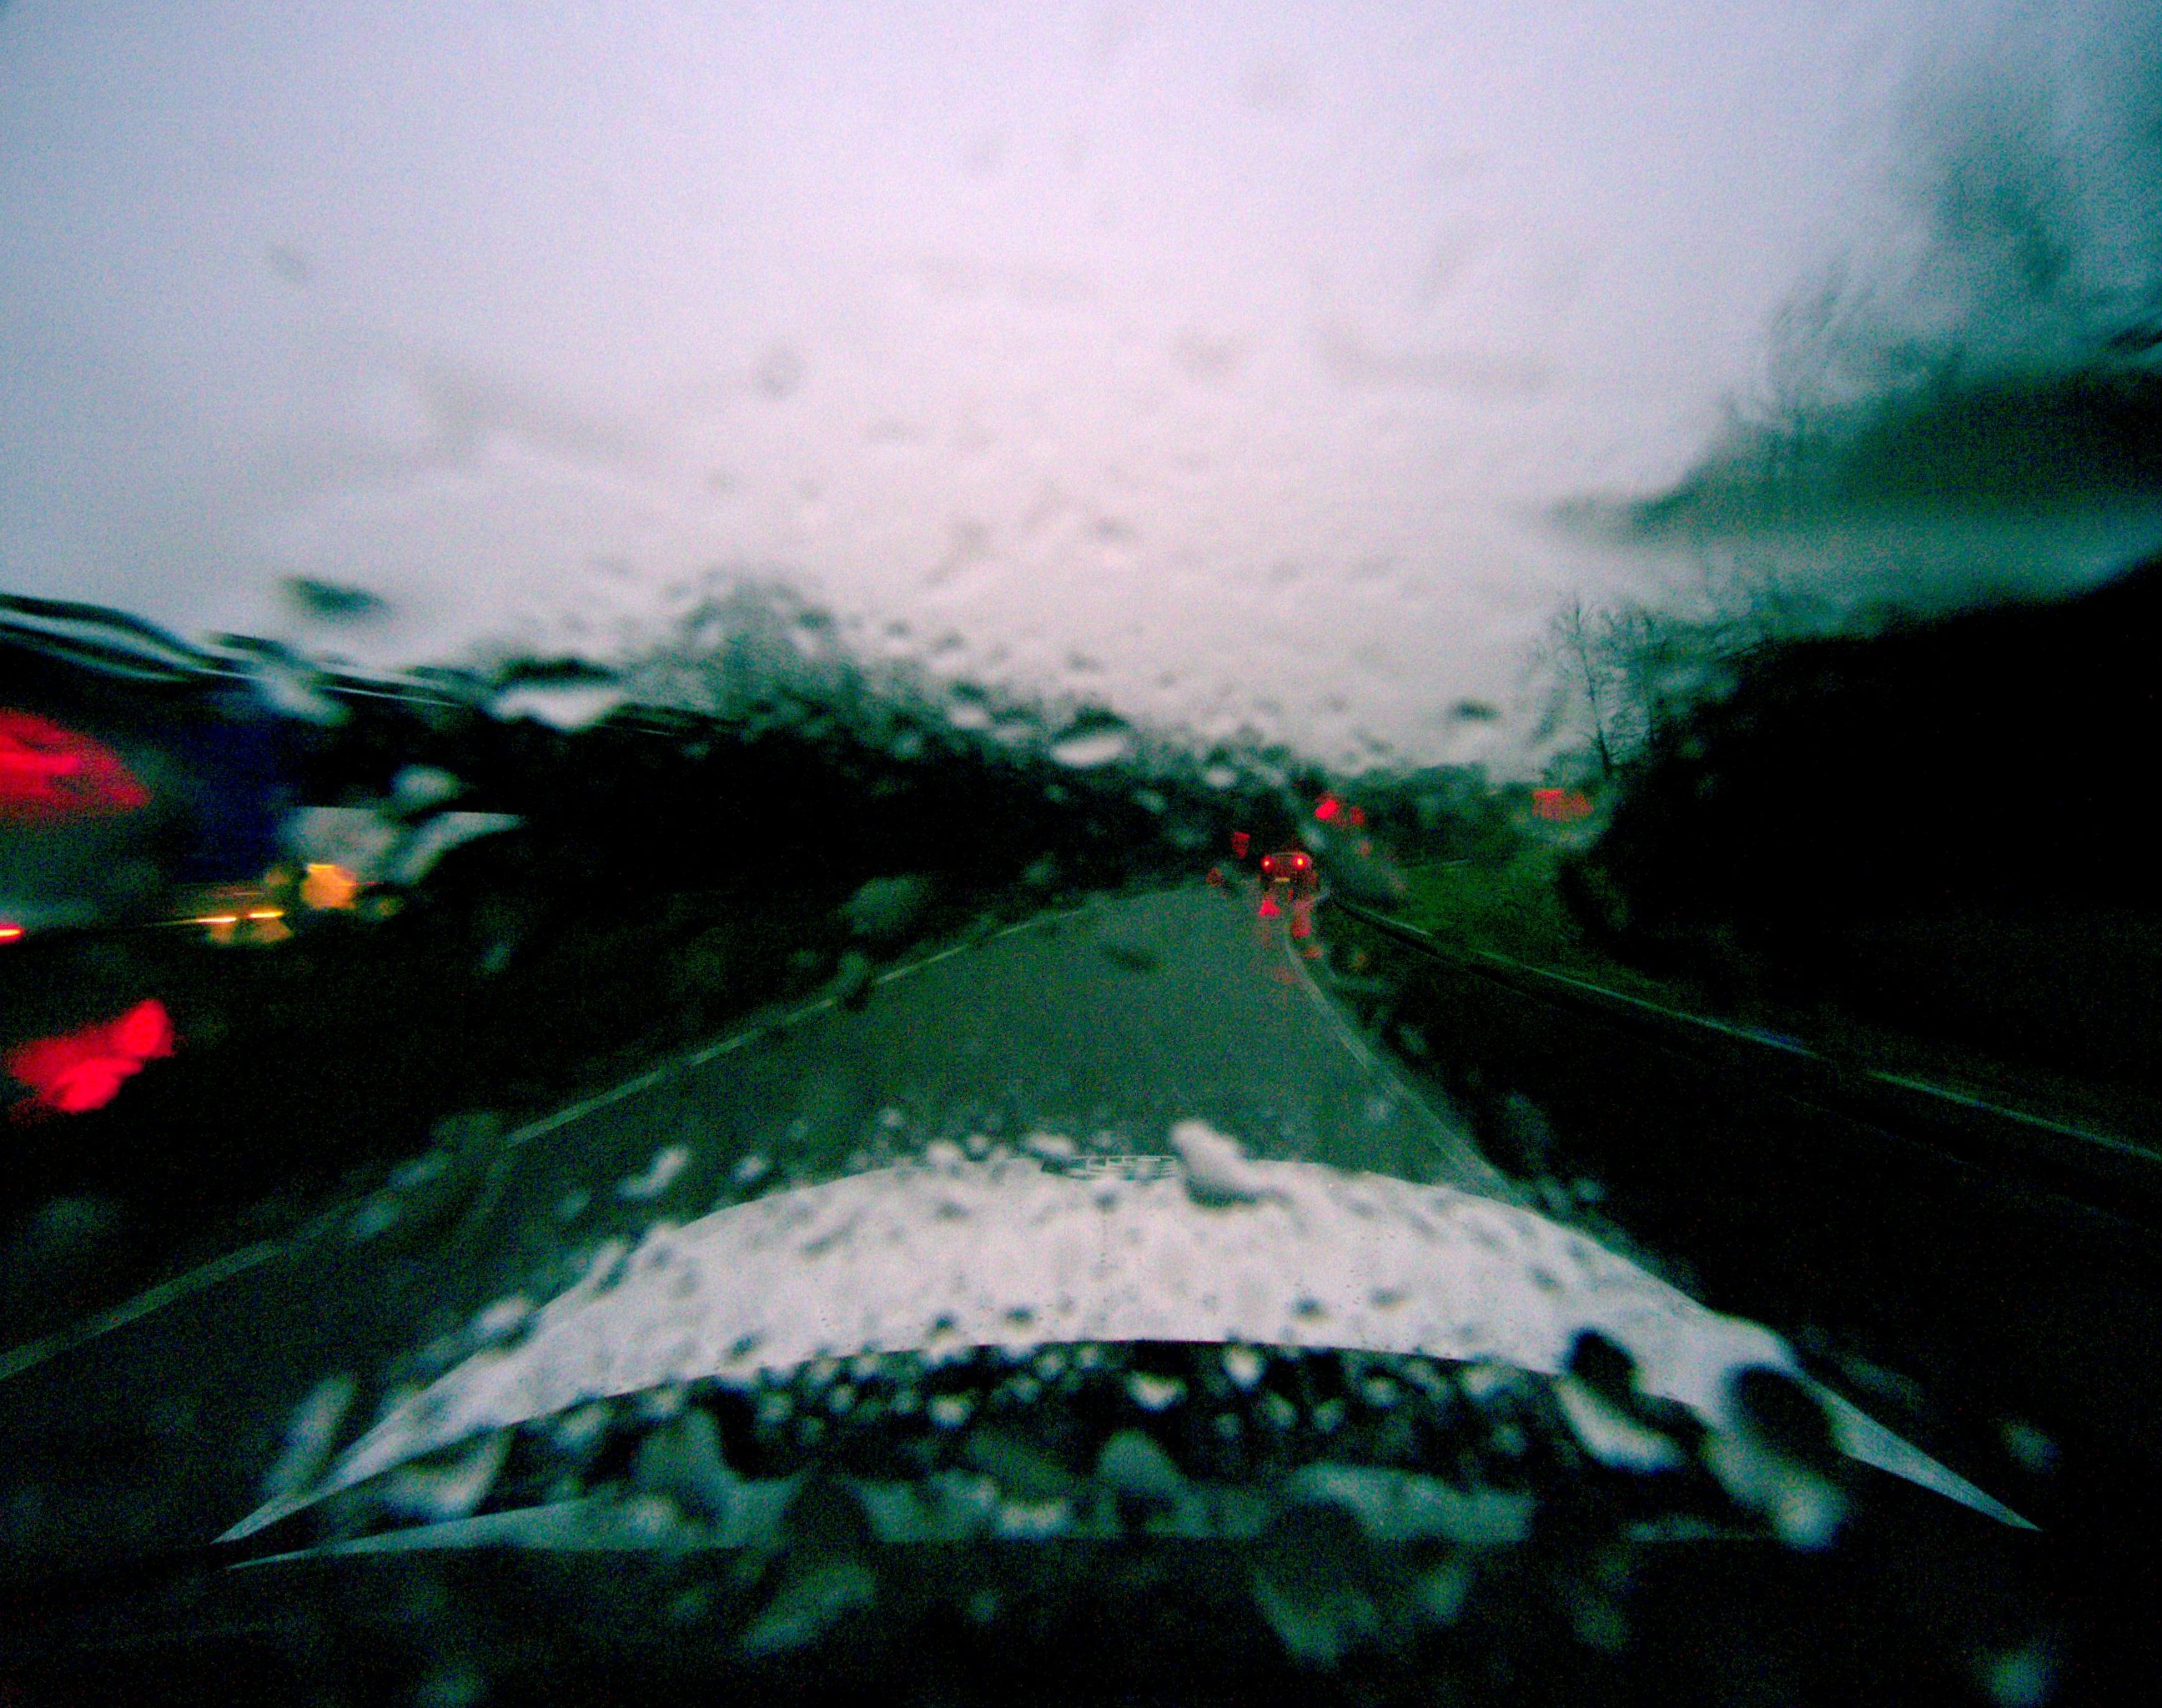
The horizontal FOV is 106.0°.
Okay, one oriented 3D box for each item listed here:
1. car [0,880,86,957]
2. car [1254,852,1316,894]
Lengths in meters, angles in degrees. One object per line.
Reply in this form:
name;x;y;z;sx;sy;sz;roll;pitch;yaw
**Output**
car;-25.582;1.543;19.003;2.010;1.664;3.955;-4;0;-37
car;7.644;0.650;30.313;1.717;1.429;3.785;1;0;22
